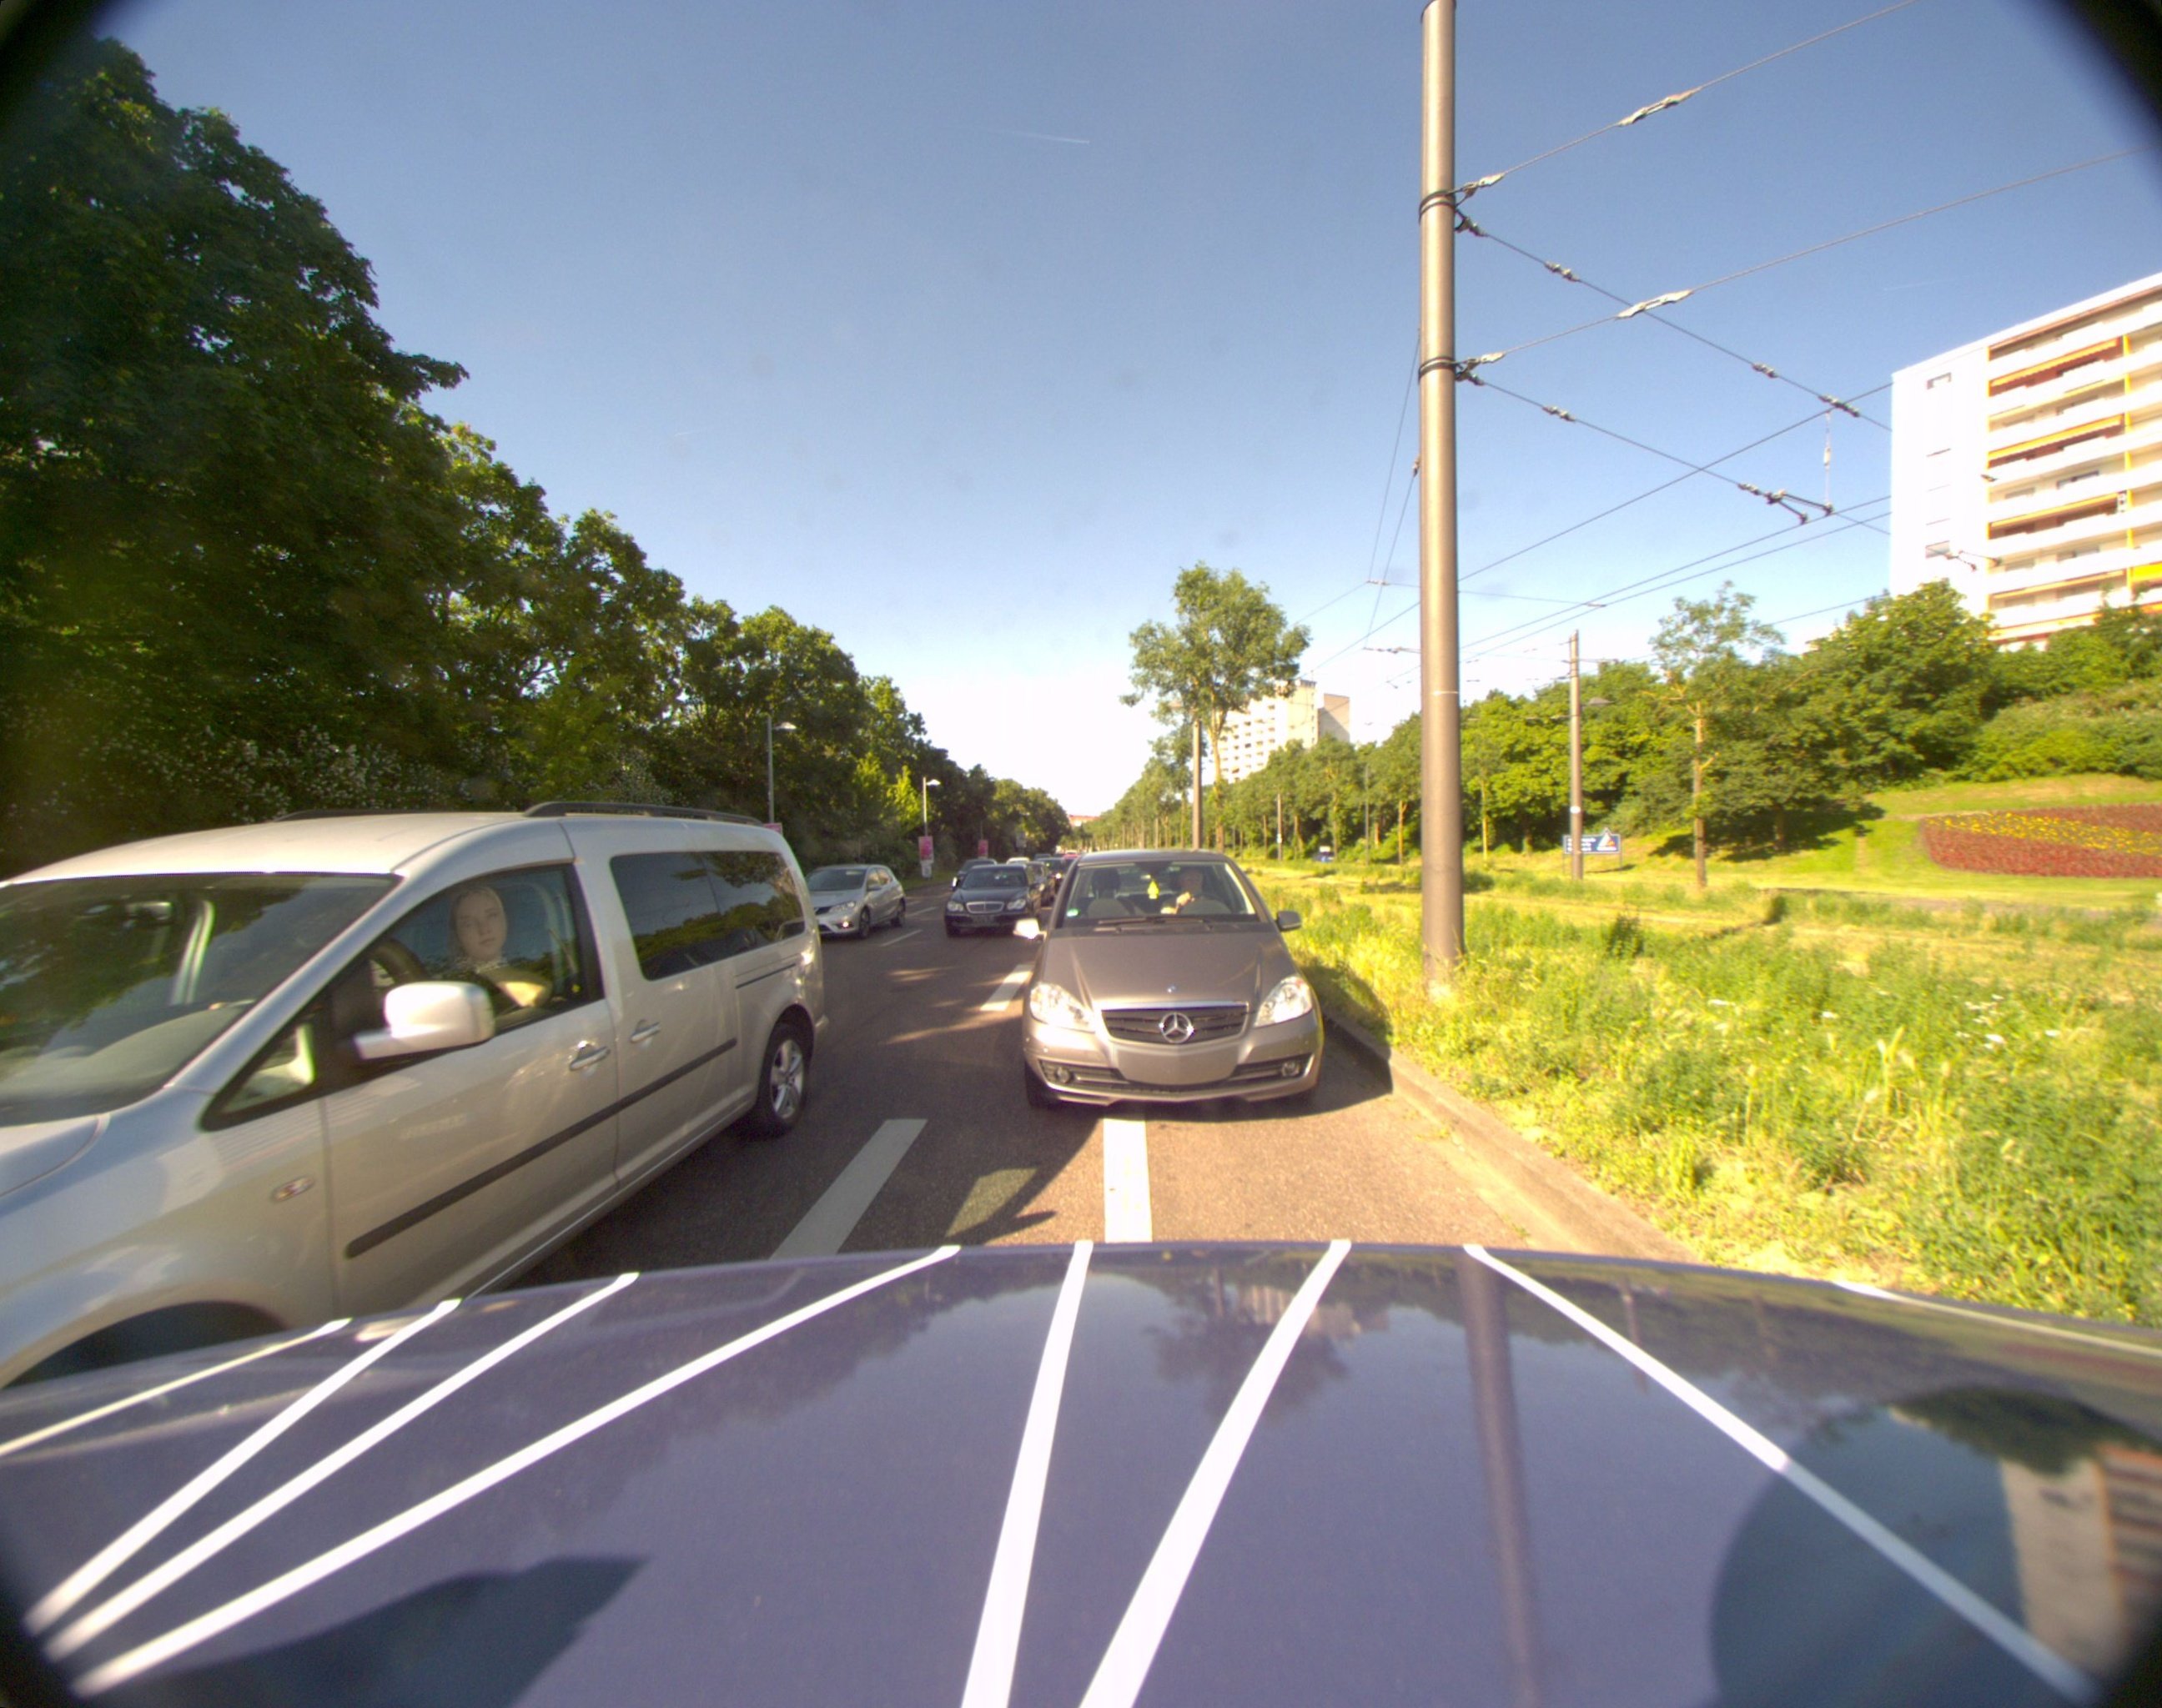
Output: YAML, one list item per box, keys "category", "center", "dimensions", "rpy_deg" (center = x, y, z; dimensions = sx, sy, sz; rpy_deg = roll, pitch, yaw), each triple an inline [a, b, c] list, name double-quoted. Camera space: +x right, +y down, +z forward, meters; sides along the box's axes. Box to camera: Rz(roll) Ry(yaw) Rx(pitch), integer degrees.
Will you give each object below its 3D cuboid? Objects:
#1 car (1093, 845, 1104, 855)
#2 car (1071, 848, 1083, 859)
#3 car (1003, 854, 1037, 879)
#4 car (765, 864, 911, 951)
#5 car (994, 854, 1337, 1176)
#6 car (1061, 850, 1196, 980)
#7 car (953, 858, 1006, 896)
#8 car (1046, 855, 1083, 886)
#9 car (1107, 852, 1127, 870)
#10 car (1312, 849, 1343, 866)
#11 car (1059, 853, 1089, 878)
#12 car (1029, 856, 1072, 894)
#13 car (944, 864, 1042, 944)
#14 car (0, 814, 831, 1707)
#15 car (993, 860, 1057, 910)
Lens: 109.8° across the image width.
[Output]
- category: "car"
  center: [2.868, -0.599, 123.313]
  dimensions: [1.630, 1.556, 3.812]
  rpy_deg: [-2, 1, 1]
- category: "car"
  center: [-0.542, -0.077, 112.795]
  dimensions: [1.713, 1.485, 3.963]
  rpy_deg: [-2, 0, 1]
- category: "car"
  center: [-3.991, 0.793, 50.353]
  dimensions: [1.749, 1.427, 4.386]
  rpy_deg: [-2, 1, 2]
- category: "car"
  center: [-5.073, 1.047, 16.491]
  dimensions: [1.726, 1.508, 4.137]
  rpy_deg: [-2, 0, 1]
- category: "car"
  center: [0.475, 0.856, 6.015]
  dimensions: [1.749, 1.630, 4.000]
  rpy_deg: [-2, 0, 1]
- category: "car"
  center: [0.667, 0.806, 12.171]
  dimensions: [1.749, 1.652, 3.999]
  rpy_deg: [-2, 1, 1]
- category: "car"
  center: [-4.490, 0.990, 34.040]
  dimensions: [1.713, 1.485, 3.963]
  rpy_deg: [-2, 0, 1]
- category: "car"
  center: [-0.805, 0.813, 39.853]
  dimensions: [1.713, 1.430, 4.171]
  rpy_deg: [-2, 0, 1]
- category: "car"
  center: [3.360, 0.635, 71.955]
  dimensions: [1.749, 1.652, 4.000]
  rpy_deg: [-1, 0, 1]
- category: "car"
  center: [21.876, 0.297, 67.511]
  dimensions: [1.578, 1.412, 3.909]
  rpy_deg: [-1, 0, 1]
- category: "car"
  center: [-0.404, 0.710, 48.701]
  dimensions: [1.685, 1.437, 3.727]
  rpy_deg: [-2, 1, 2]
- category: "car"
  center: [-1.285, 0.868, 33.084]
  dimensions: [1.621, 1.485, 3.452]
  rpy_deg: [-2, 1, 0]
- category: "car"
  center: [-1.790, 0.991, 16.663]
  dimensions: [1.717, 1.445, 4.197]
  rpy_deg: [-1, 0, -1]
- category: "car"
  center: [-2.681, 0.845, 2.677]
  dimensions: [1.808, 1.811, 4.587]
  rpy_deg: [-2, 1, 3]
- category: "car"
  center: [-1.750, 0.960, 25.102]
  dimensions: [1.723, 1.411, 4.050]
  rpy_deg: [-1, 0, 1]
